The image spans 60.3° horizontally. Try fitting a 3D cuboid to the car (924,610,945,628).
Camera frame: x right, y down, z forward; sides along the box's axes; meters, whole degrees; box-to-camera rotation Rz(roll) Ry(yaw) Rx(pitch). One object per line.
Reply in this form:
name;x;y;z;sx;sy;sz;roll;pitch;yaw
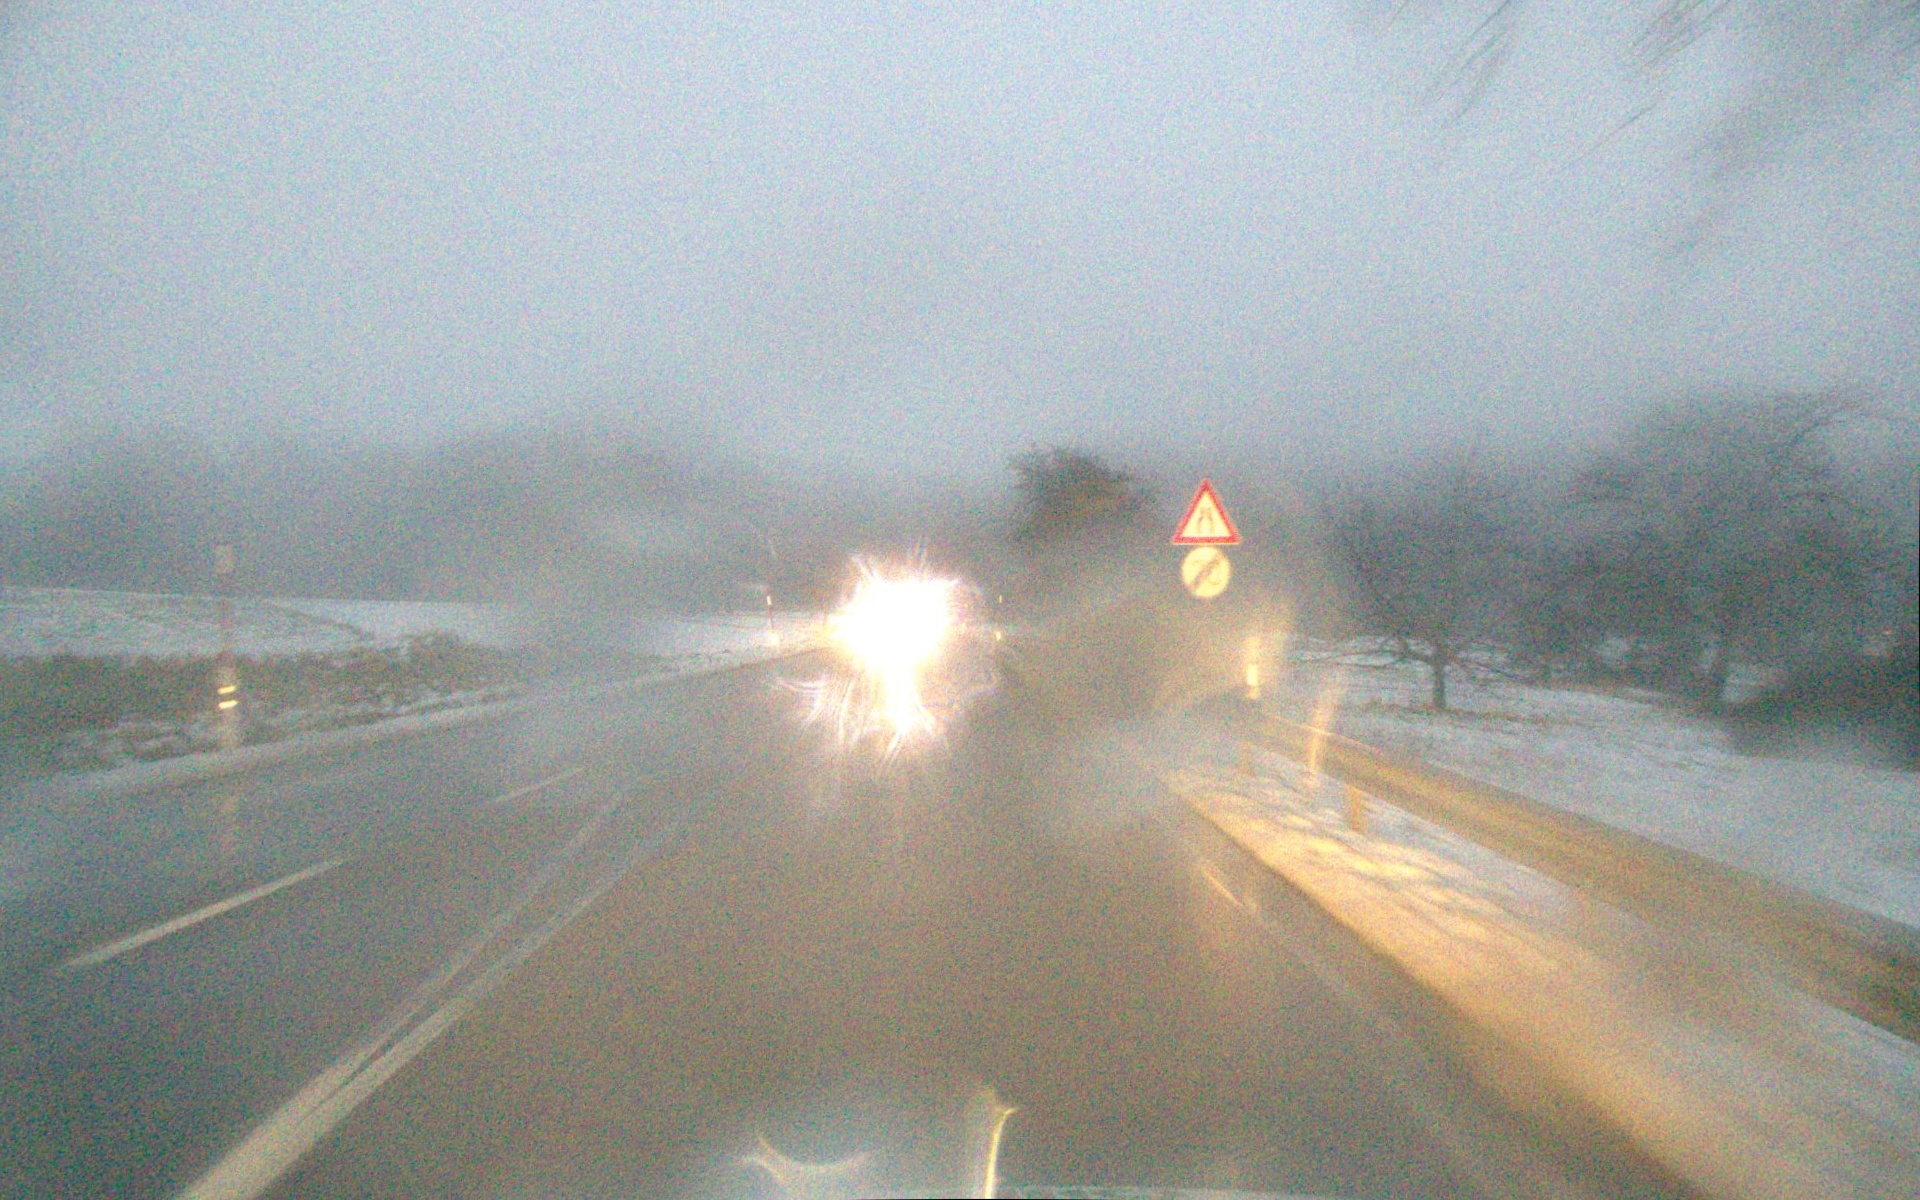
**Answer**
car;-2.389;1.806;155.220;1.657;1.579;3.857;1;1;3
